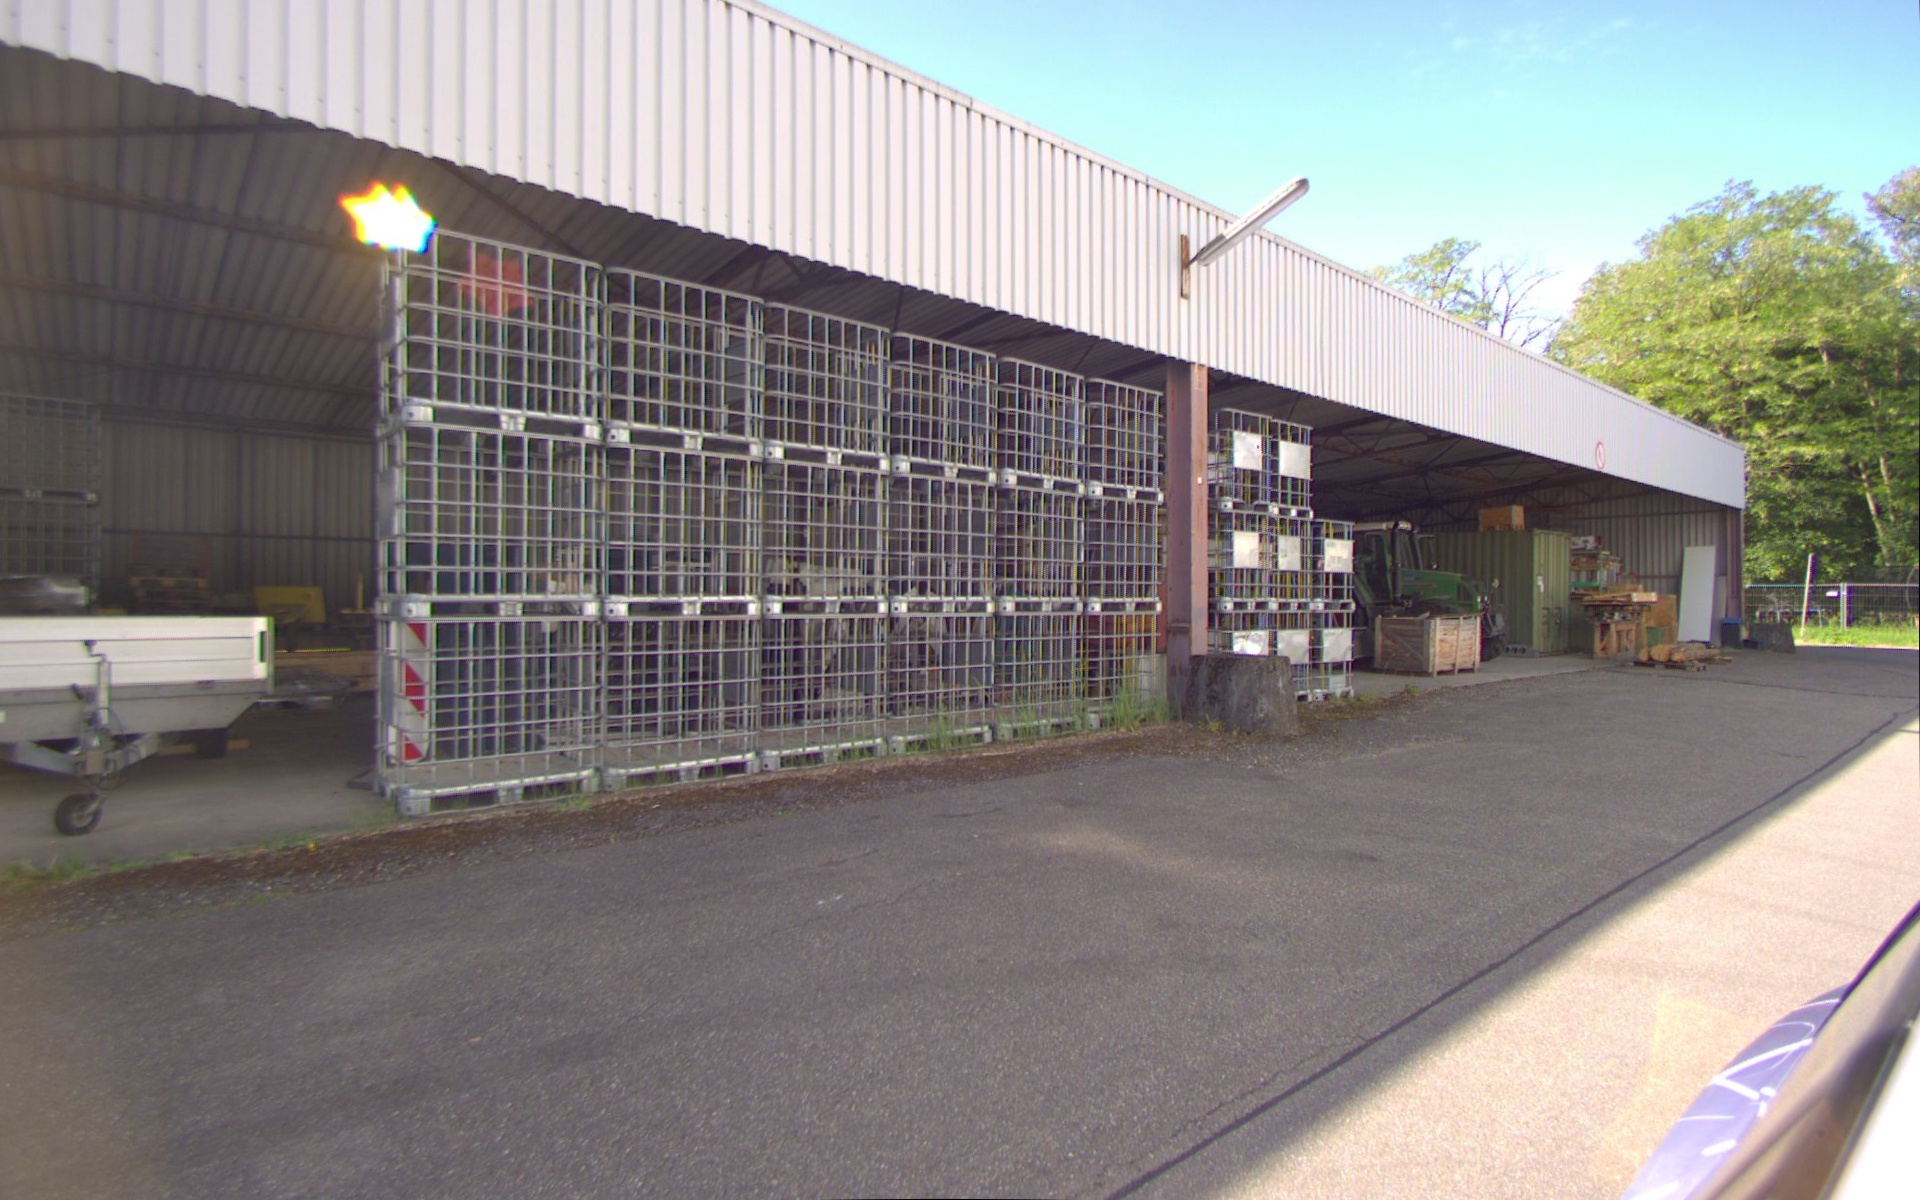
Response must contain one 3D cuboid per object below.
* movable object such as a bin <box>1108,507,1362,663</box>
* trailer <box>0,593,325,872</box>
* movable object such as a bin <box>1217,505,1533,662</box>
[{"bbox_3d":[5.626,-0.302,21.122,2.453,2.866,4.535,1,0,-40],"label":"movable object such as a bin"},{"bbox_3d":[-6.160,0.608,7.138,1.940,1.200,5.737,-1,2,-42],"label":"trailer"},{"bbox_3d":[8.909,-0.344,22.225,2.770,2.962,5.845,0,0,-40],"label":"movable object such as a bin"}]
